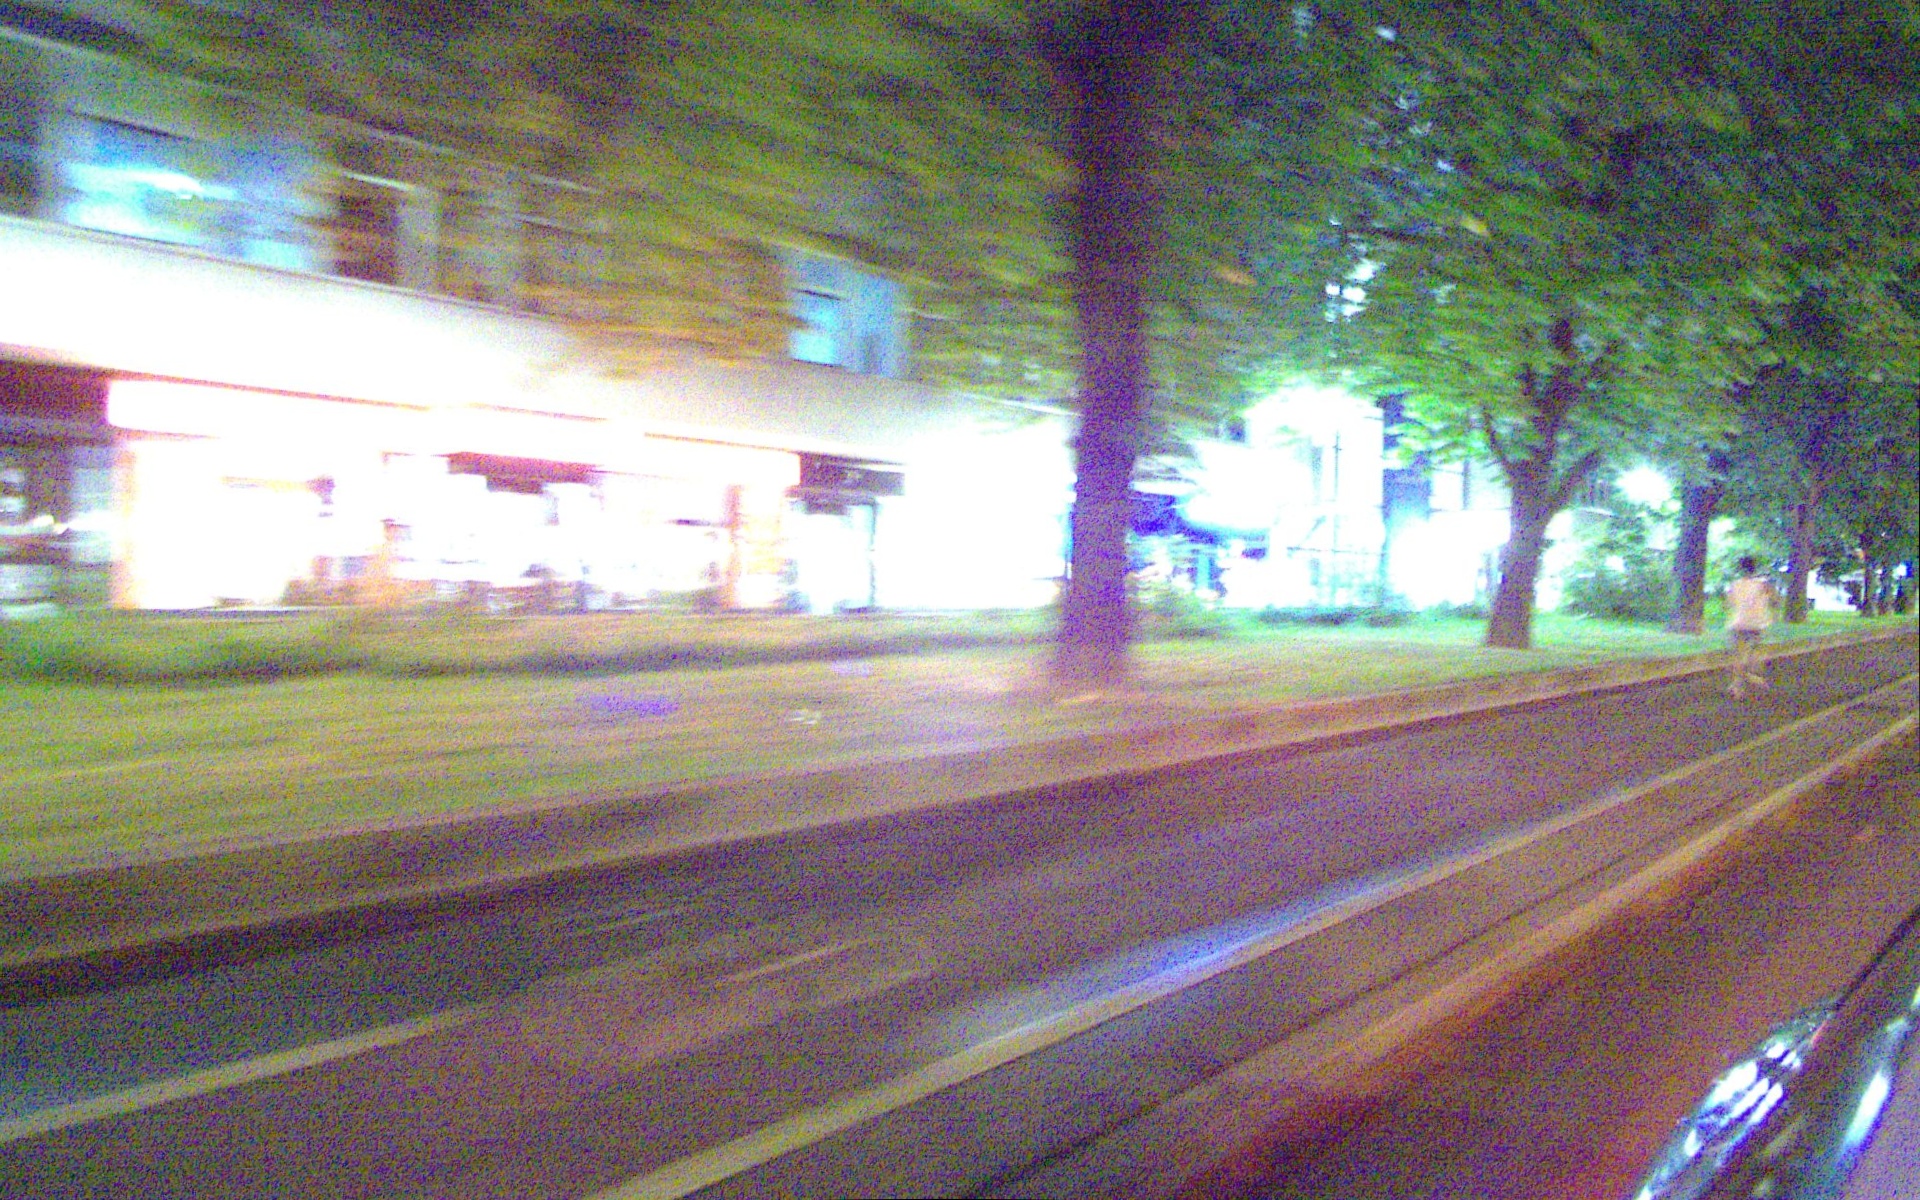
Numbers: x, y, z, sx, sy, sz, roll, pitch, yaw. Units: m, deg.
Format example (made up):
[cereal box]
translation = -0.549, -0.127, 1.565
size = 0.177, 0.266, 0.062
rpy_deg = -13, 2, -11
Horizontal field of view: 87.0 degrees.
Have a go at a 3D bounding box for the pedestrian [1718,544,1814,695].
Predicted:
[pedestrian]
translation = 10.312, 0.218, 12.949
size = 1.063, 1.841, 0.704
rpy_deg = 0, 2, -40
